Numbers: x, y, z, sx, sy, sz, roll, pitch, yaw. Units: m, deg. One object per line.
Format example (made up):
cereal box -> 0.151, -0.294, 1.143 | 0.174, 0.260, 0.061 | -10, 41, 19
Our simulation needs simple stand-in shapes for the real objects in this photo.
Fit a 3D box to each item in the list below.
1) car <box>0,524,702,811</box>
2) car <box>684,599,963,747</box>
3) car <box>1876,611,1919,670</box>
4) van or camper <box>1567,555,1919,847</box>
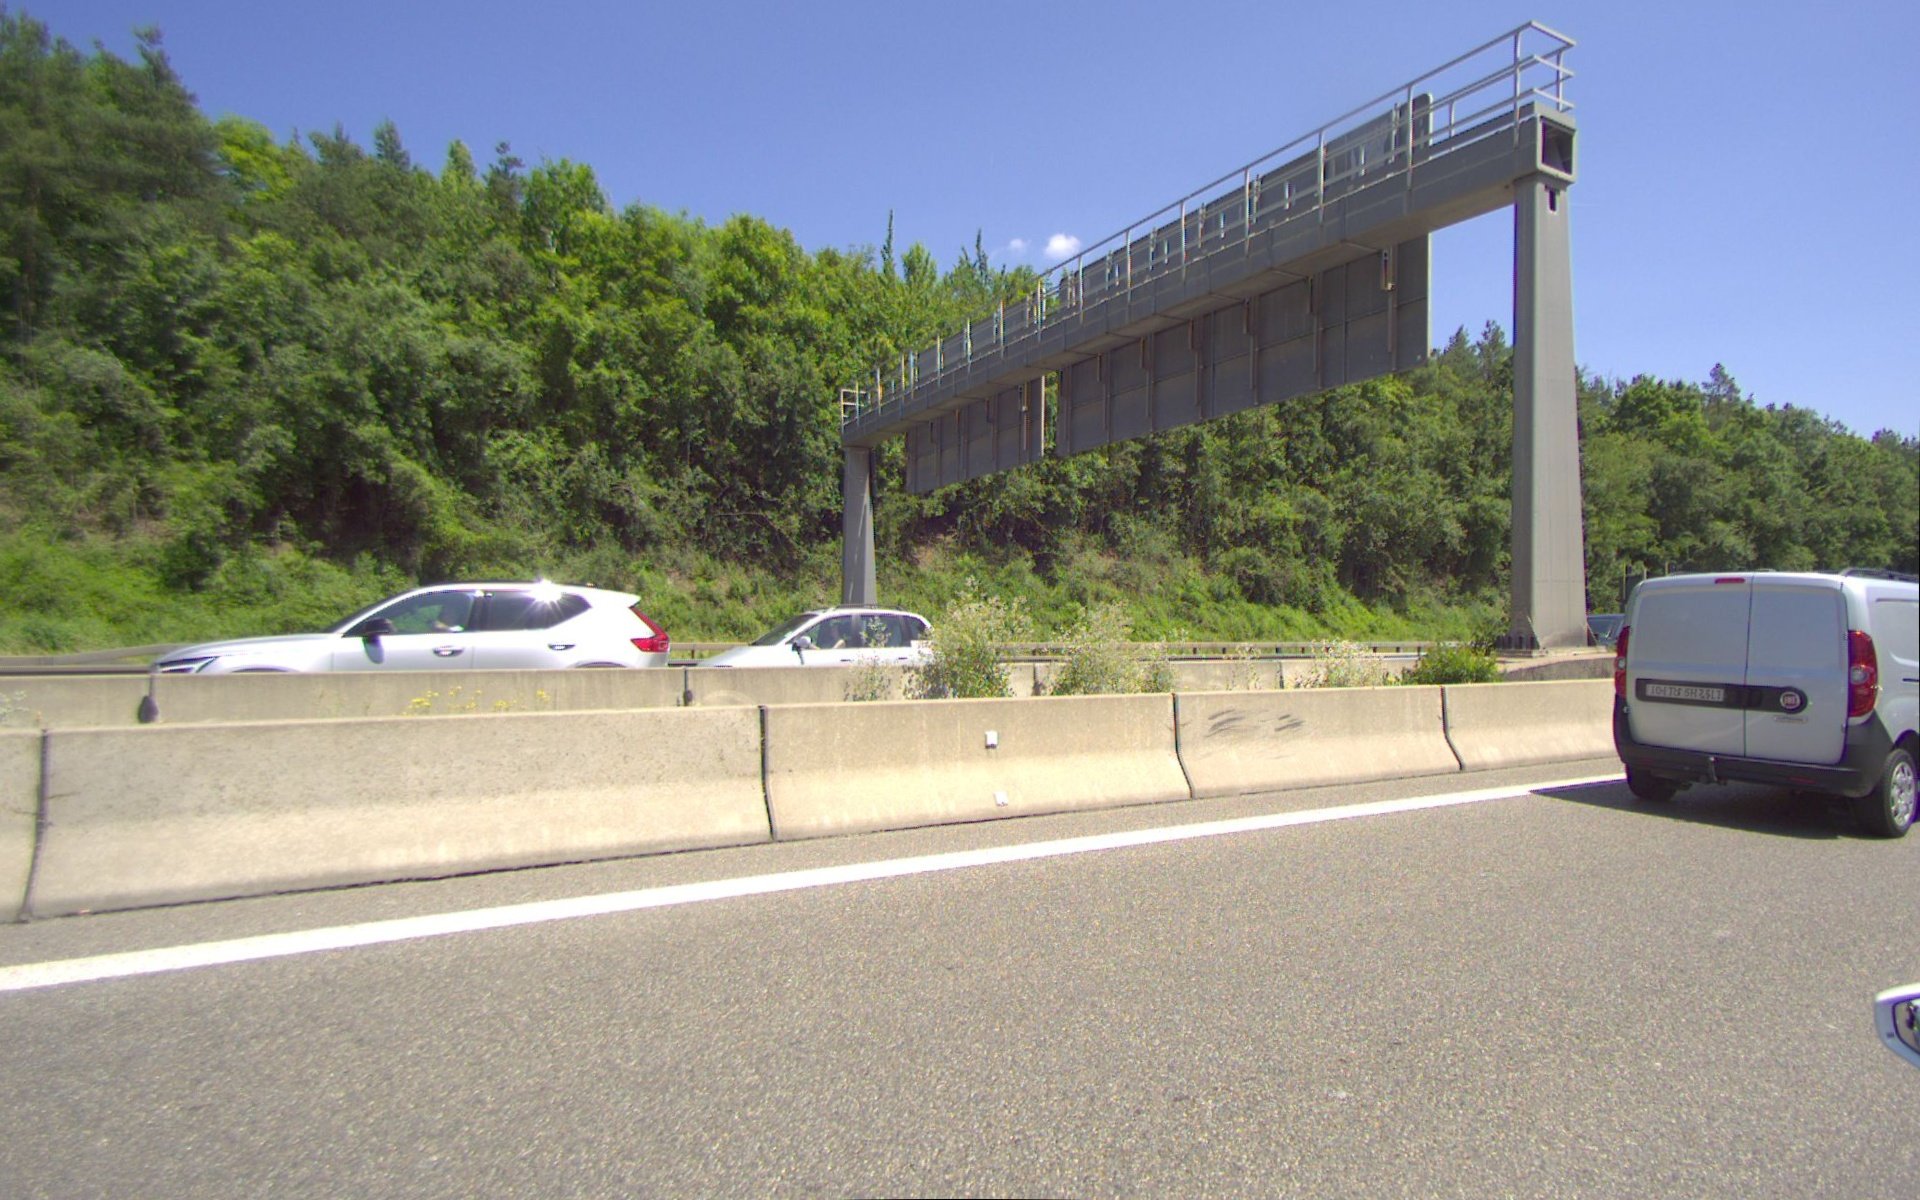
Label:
car -> -5.308, 0.524, 9.258 | 5.326, 2.040, 1.983 | 1, 0, -32
car -> -2.115, 1.038, 15.624 | 3.878, 2.040, 1.905 | 1, 0, -28
car -> 35.156, 1.455, 36.160 | 4.220, 2.040, 1.985 | 1, 0, -29
van or camper -> 7.347, 0.698, 8.499 | 4.507, 1.905, 1.844 | 1, 0, -30
